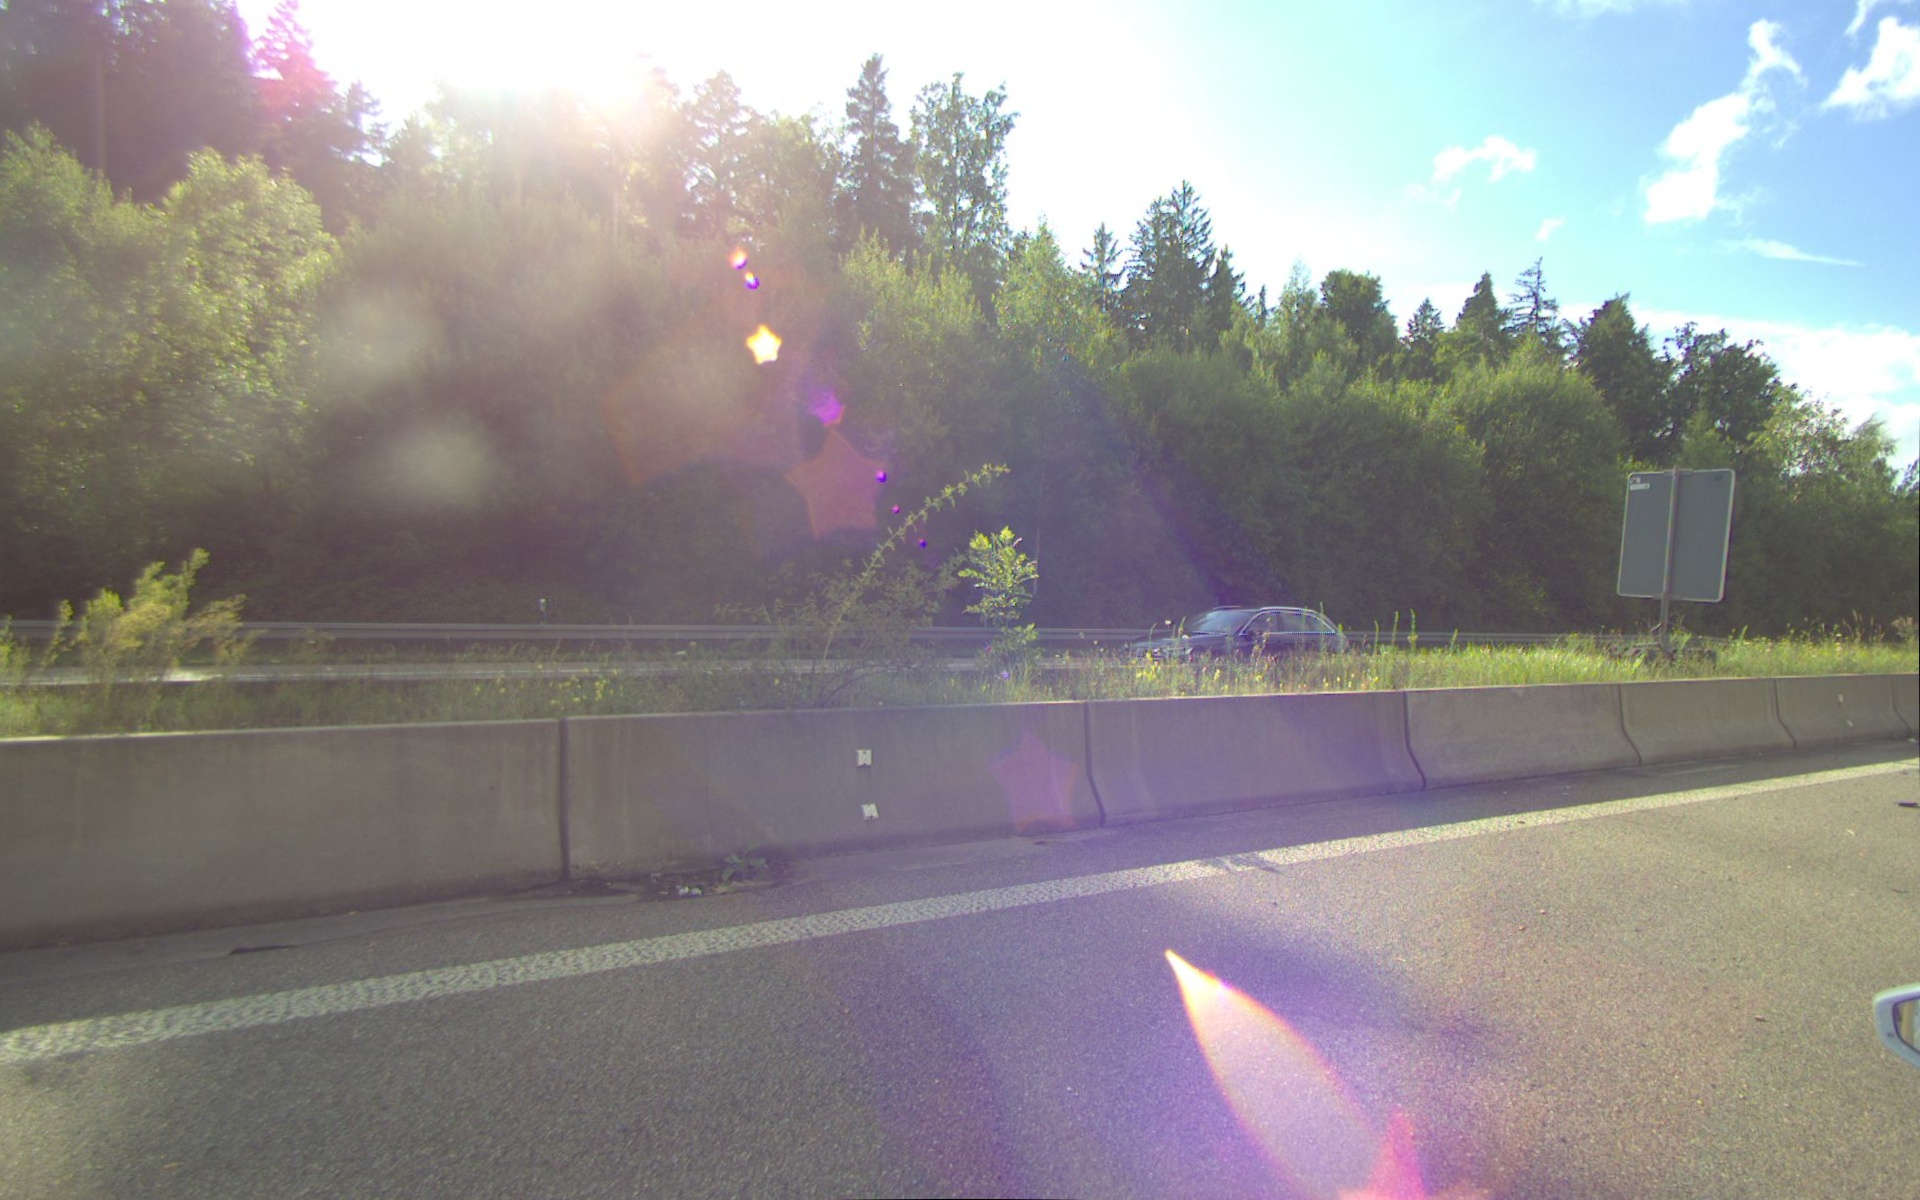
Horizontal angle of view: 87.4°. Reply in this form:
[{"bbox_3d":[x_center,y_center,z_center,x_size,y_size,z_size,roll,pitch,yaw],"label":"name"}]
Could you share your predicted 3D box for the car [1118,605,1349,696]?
[{"bbox_3d":[4.792,0.848,17.488,3.866,1.406,1.652,2,0,-30],"label":"car"}]
